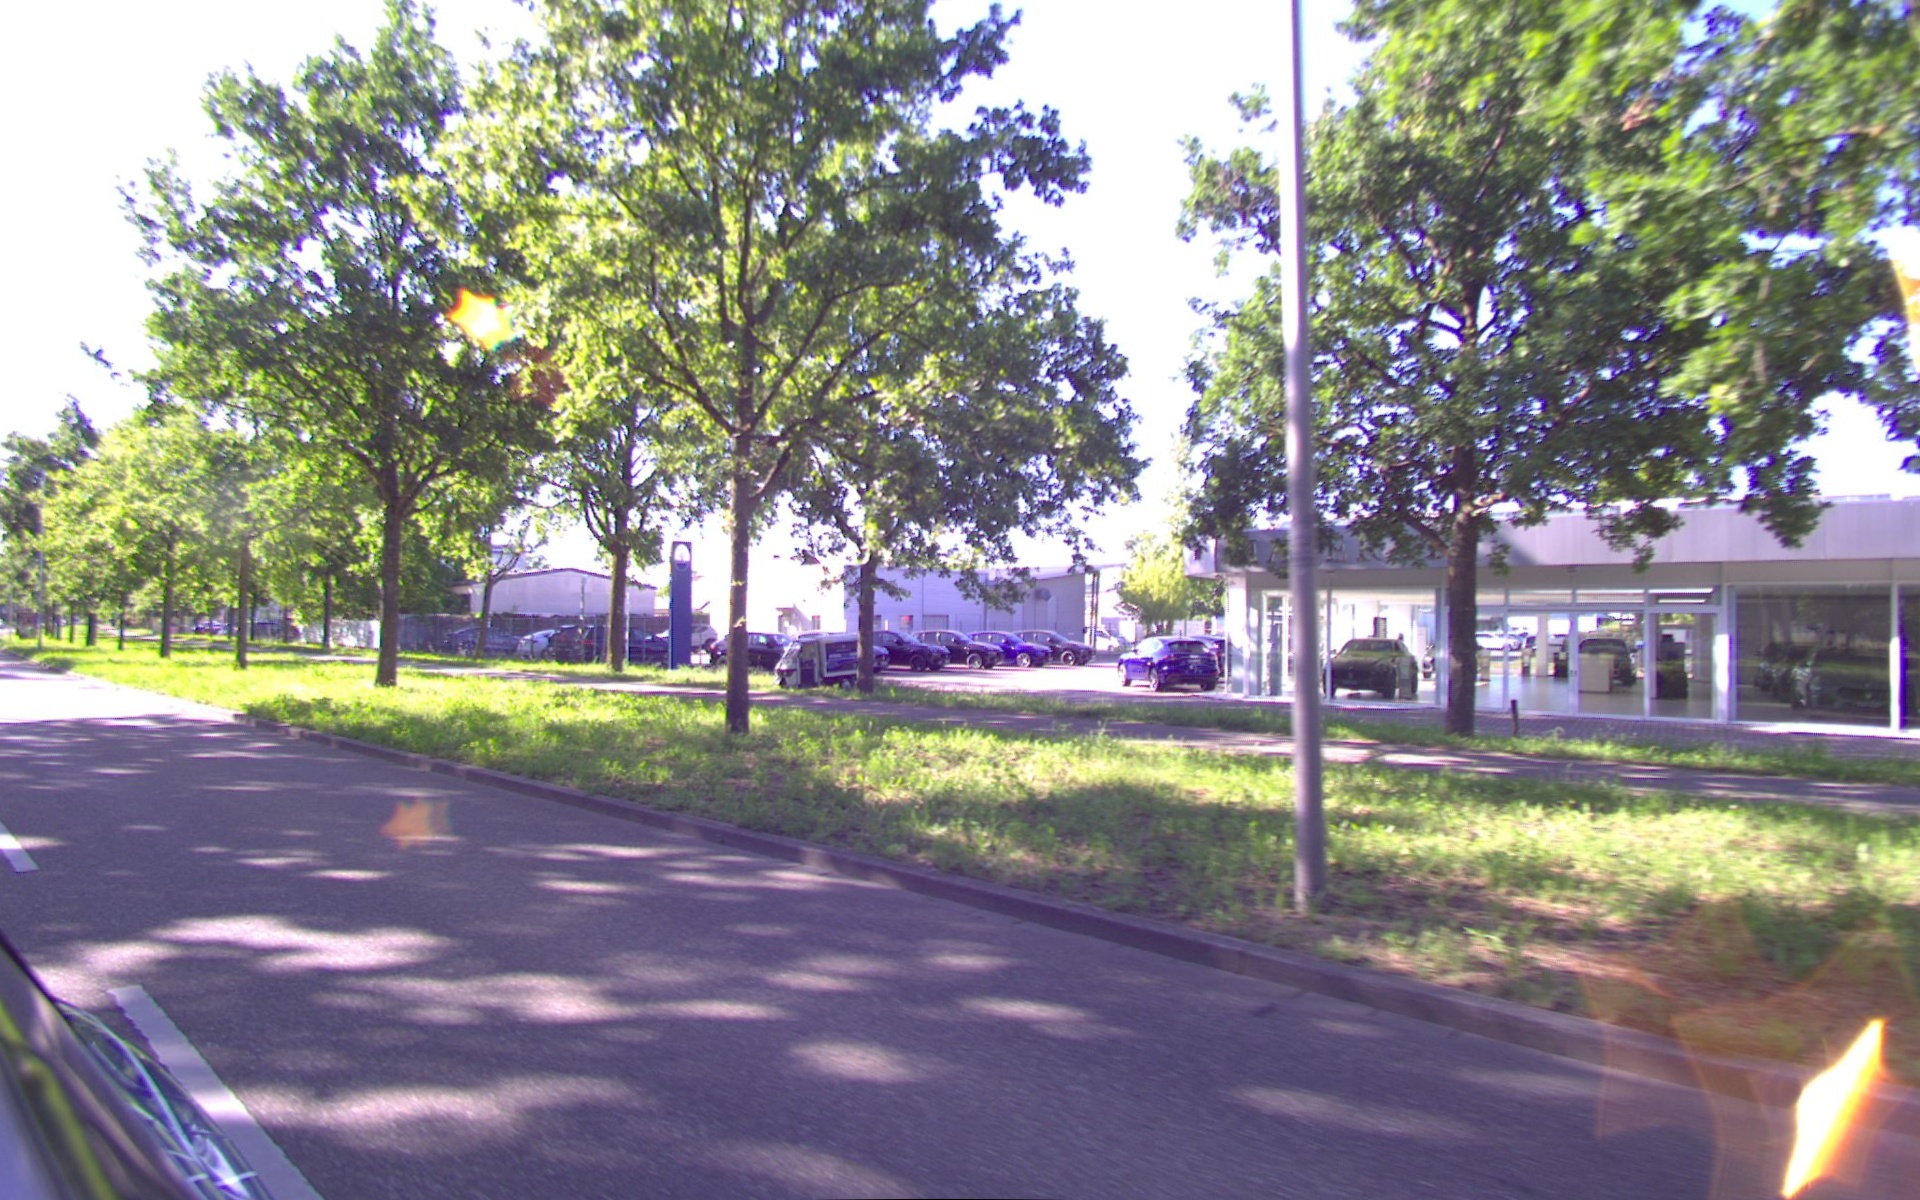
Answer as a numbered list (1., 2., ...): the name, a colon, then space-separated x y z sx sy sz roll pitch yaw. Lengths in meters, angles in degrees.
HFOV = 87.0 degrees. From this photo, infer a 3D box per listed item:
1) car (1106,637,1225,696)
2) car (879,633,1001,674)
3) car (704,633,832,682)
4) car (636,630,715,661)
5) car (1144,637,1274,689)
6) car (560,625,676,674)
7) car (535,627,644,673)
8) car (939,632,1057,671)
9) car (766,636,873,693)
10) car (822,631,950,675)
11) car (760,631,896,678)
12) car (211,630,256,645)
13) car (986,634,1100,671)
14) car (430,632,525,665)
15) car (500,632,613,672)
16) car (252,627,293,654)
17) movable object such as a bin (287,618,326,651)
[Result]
1. car: 6.494 2.067 32.678 1.968 1.673 5.270 -1 -2 -9
2. car: -0.928 2.350 45.381 5.239 1.673 1.980 -1 0 30
3. car: -7.254 2.104 38.139 4.476 1.688 1.982 -1 0 27
4. car: -15.838 2.495 56.466 1.752 1.530 3.942 -1 0 45
5. car: 8.803 2.200 36.290 1.965 1.673 5.026 0 -2 -21
6. car: -13.752 1.948 40.785 3.941 1.755 2.001 -1 0 -45
7. car: -15.688 2.074 42.959 1.863 1.759 3.942 -1 0 45
8. car: 1.738 2.383 47.512 5.239 1.673 1.980 -1 0 30
9. car: -3.844 1.729 27.695 2.531 1.481 1.430 1 -2 -31
10. car: -3.175 2.226 43.029 5.239 1.702 1.980 -1 0 30
11. car: -5.286 2.132 40.389 5.235 1.730 1.981 -1 0 28
12. car: -81.666 4.238 113.787 3.826 1.513 2.007 -1 0 -24
13. car: 4.045 2.527 49.687 5.239 1.673 1.980 -1 0 30
14. car: -25.102 2.479 52.722 2.199 1.530 3.942 -1 0 45
15. car: -17.826 2.243 44.838 1.863 1.530 4.262 -1 0 45
16. car: -59.016 3.433 86.817 1.970 2.191 5.675 2 -2 -44
17. movable object such as a bin: -54.000 2.811 83.582 1.970 2.535 4.239 -1 0 -44
